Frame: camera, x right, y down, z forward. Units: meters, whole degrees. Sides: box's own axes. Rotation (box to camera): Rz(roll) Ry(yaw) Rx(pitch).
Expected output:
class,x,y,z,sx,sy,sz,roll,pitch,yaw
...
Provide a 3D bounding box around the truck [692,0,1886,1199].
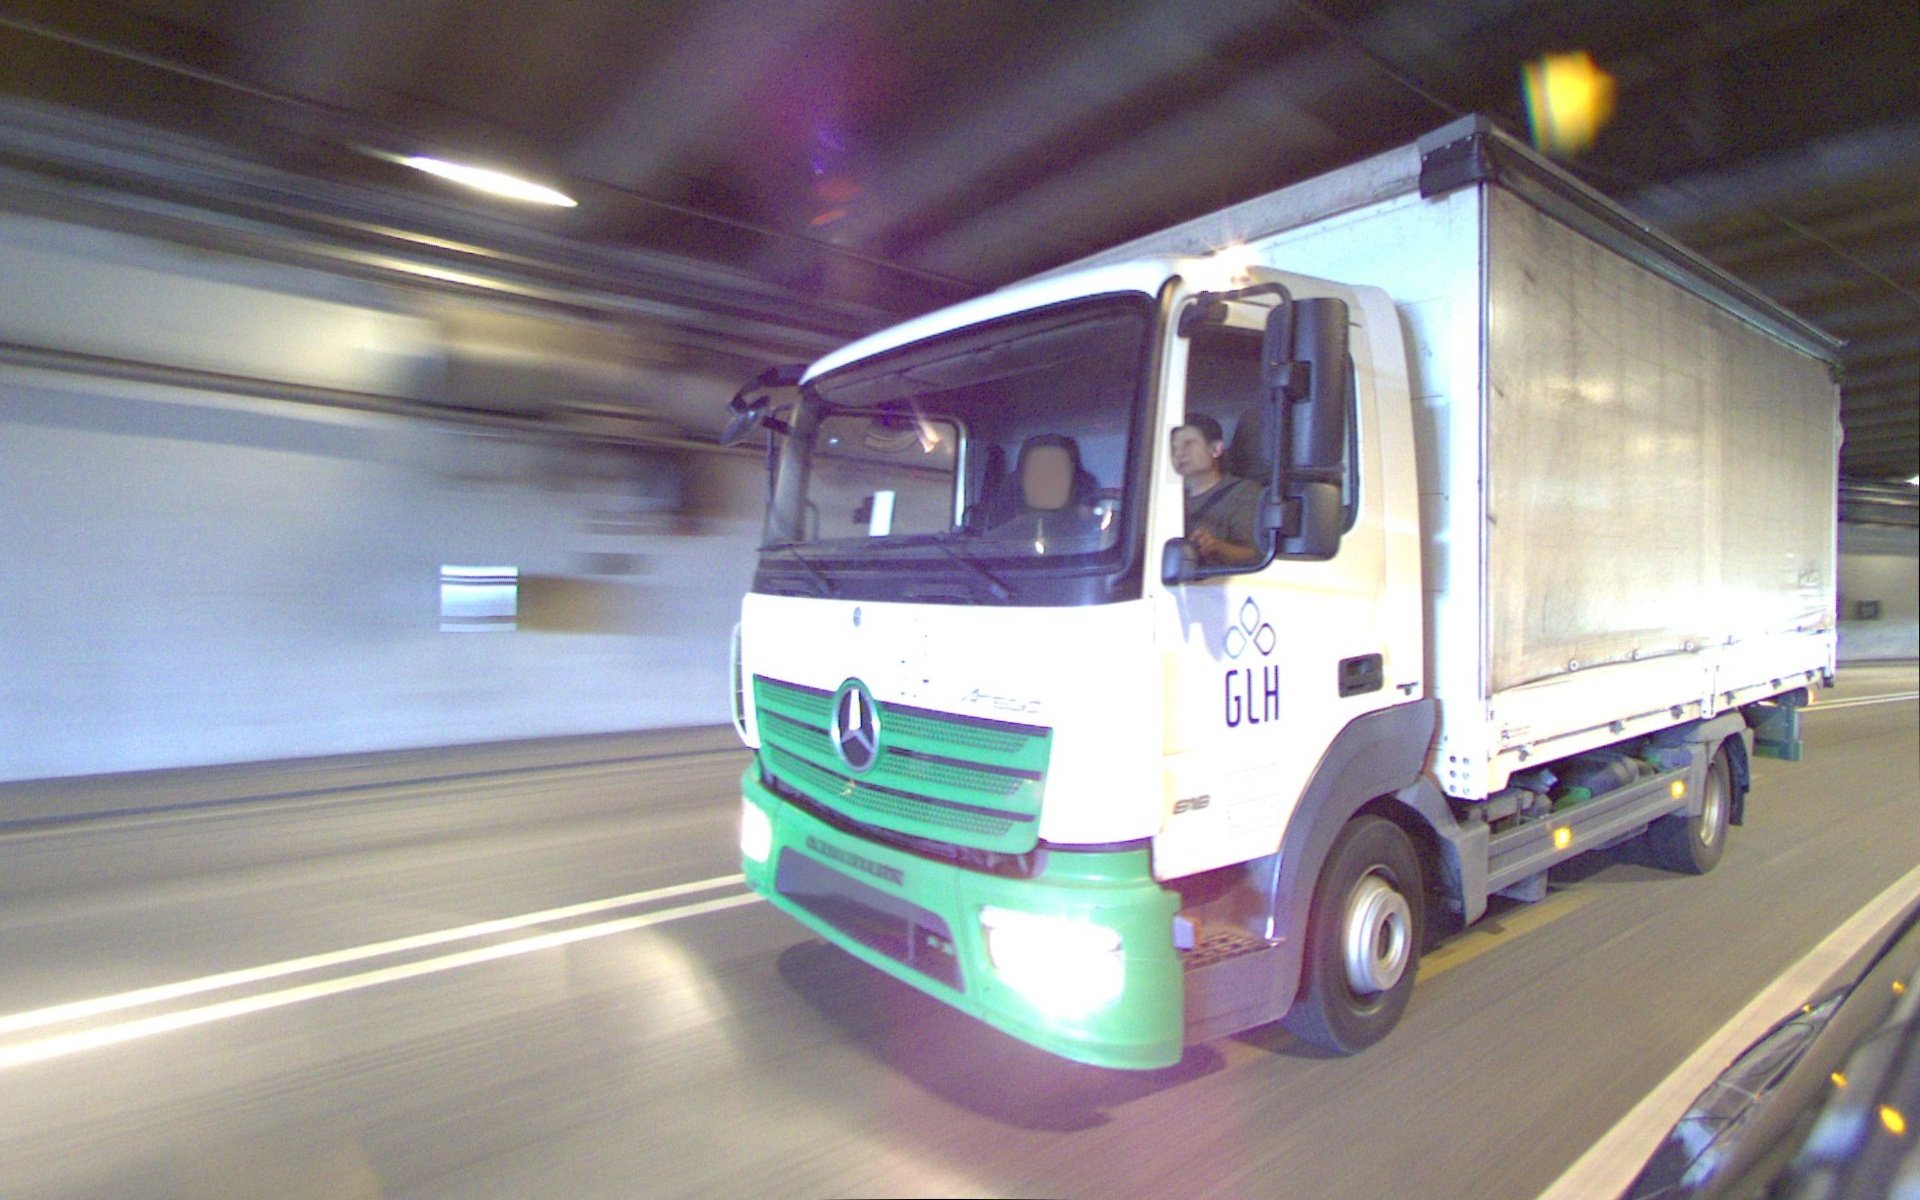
class,x,y,z,sx,sy,sz,roll,pitch,yaw
truck,2.500,-0.248,5.603,7.279,3.280,2.636,0,-1,-38
